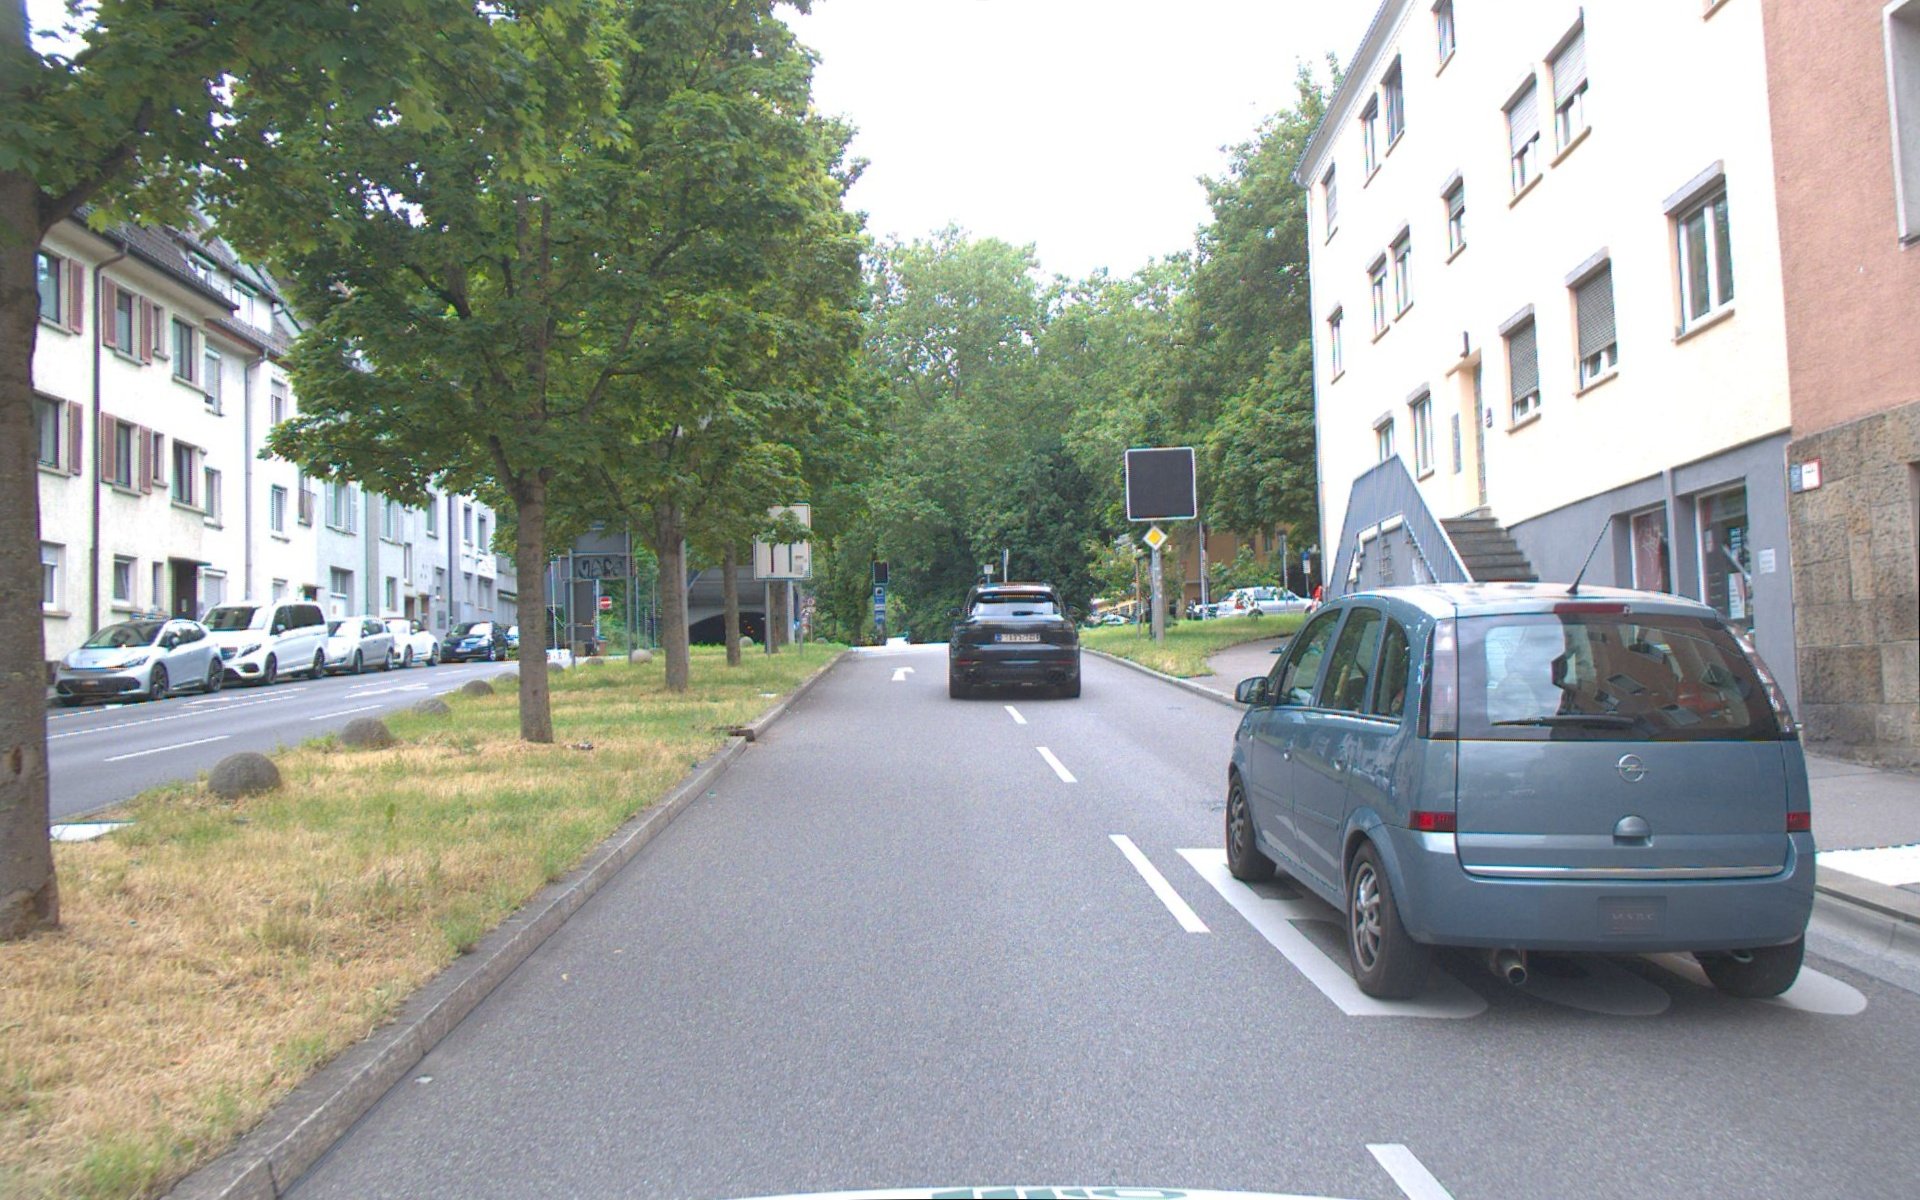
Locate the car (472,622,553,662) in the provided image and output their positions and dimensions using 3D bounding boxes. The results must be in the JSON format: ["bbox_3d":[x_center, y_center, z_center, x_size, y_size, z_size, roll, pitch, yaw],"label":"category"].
[{"bbox_3d":[-17.084,1.592,63.342,1.953,1.425,4.516,-2,-1,-1],"label":"car"}]

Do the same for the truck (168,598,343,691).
[{"bbox_3d":[-16.305,0.989,38.618,1.954,1.953,5.344,-2,-1,-3],"label":"truck"}]

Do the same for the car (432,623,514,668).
[{"bbox_3d":[-17.168,1.581,58.507,1.955,1.448,4.207,-2,-1,-5],"label":"car"}]

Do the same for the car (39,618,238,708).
[{"bbox_3d":[-16.084,1.181,32.629,1.954,1.579,4.155,-2,-1,-3],"label":"car"}]

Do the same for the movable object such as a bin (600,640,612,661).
[{"bbox_3d":[-17.247,2.471,80.588,0.507,0.984,0.442,2,-3,-17],"label":"movable object such as a bin"}]

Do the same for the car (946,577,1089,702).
[{"bbox_3d":[0.814,0.587,25.482,1.953,1.682,3.999,-3,-1,0],"label":"car"}]

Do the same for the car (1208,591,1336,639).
[{"bbox_3d":[11.084,0.510,58.894,4.047,1.453,1.856,-3,0,-13],"label":"car"}]

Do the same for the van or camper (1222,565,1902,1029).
[{"bbox_3d":[2.394,0.685,7.581,1.700,1.605,3.644,0,0,-2],"label":"van or camper"}]

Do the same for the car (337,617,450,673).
[{"bbox_3d":[-16.794,1.303,49.234,1.953,1.500,4.157,-2,-1,-1],"label":"car"}]

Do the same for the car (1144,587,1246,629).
[{"bbox_3d":[9.108,0.300,64.012,1.965,1.442,3.975,-3,-1,43],"label":"car"}]

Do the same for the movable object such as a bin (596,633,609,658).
[{"bbox_3d":[-17.538,2.244,81.118,0.595,1.207,0.490,2,-3,-17],"label":"movable object such as a bin"}]

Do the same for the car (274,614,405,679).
[{"bbox_3d":[-16.453,1.196,44.080,1.954,1.579,4.379,-2,-1,-3],"label":"car"}]

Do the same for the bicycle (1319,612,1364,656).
[{"bbox_3d":[7.166,0.634,31.107,0.478,0.786,1.558,-3,0,1],"label":"bicycle"}]
